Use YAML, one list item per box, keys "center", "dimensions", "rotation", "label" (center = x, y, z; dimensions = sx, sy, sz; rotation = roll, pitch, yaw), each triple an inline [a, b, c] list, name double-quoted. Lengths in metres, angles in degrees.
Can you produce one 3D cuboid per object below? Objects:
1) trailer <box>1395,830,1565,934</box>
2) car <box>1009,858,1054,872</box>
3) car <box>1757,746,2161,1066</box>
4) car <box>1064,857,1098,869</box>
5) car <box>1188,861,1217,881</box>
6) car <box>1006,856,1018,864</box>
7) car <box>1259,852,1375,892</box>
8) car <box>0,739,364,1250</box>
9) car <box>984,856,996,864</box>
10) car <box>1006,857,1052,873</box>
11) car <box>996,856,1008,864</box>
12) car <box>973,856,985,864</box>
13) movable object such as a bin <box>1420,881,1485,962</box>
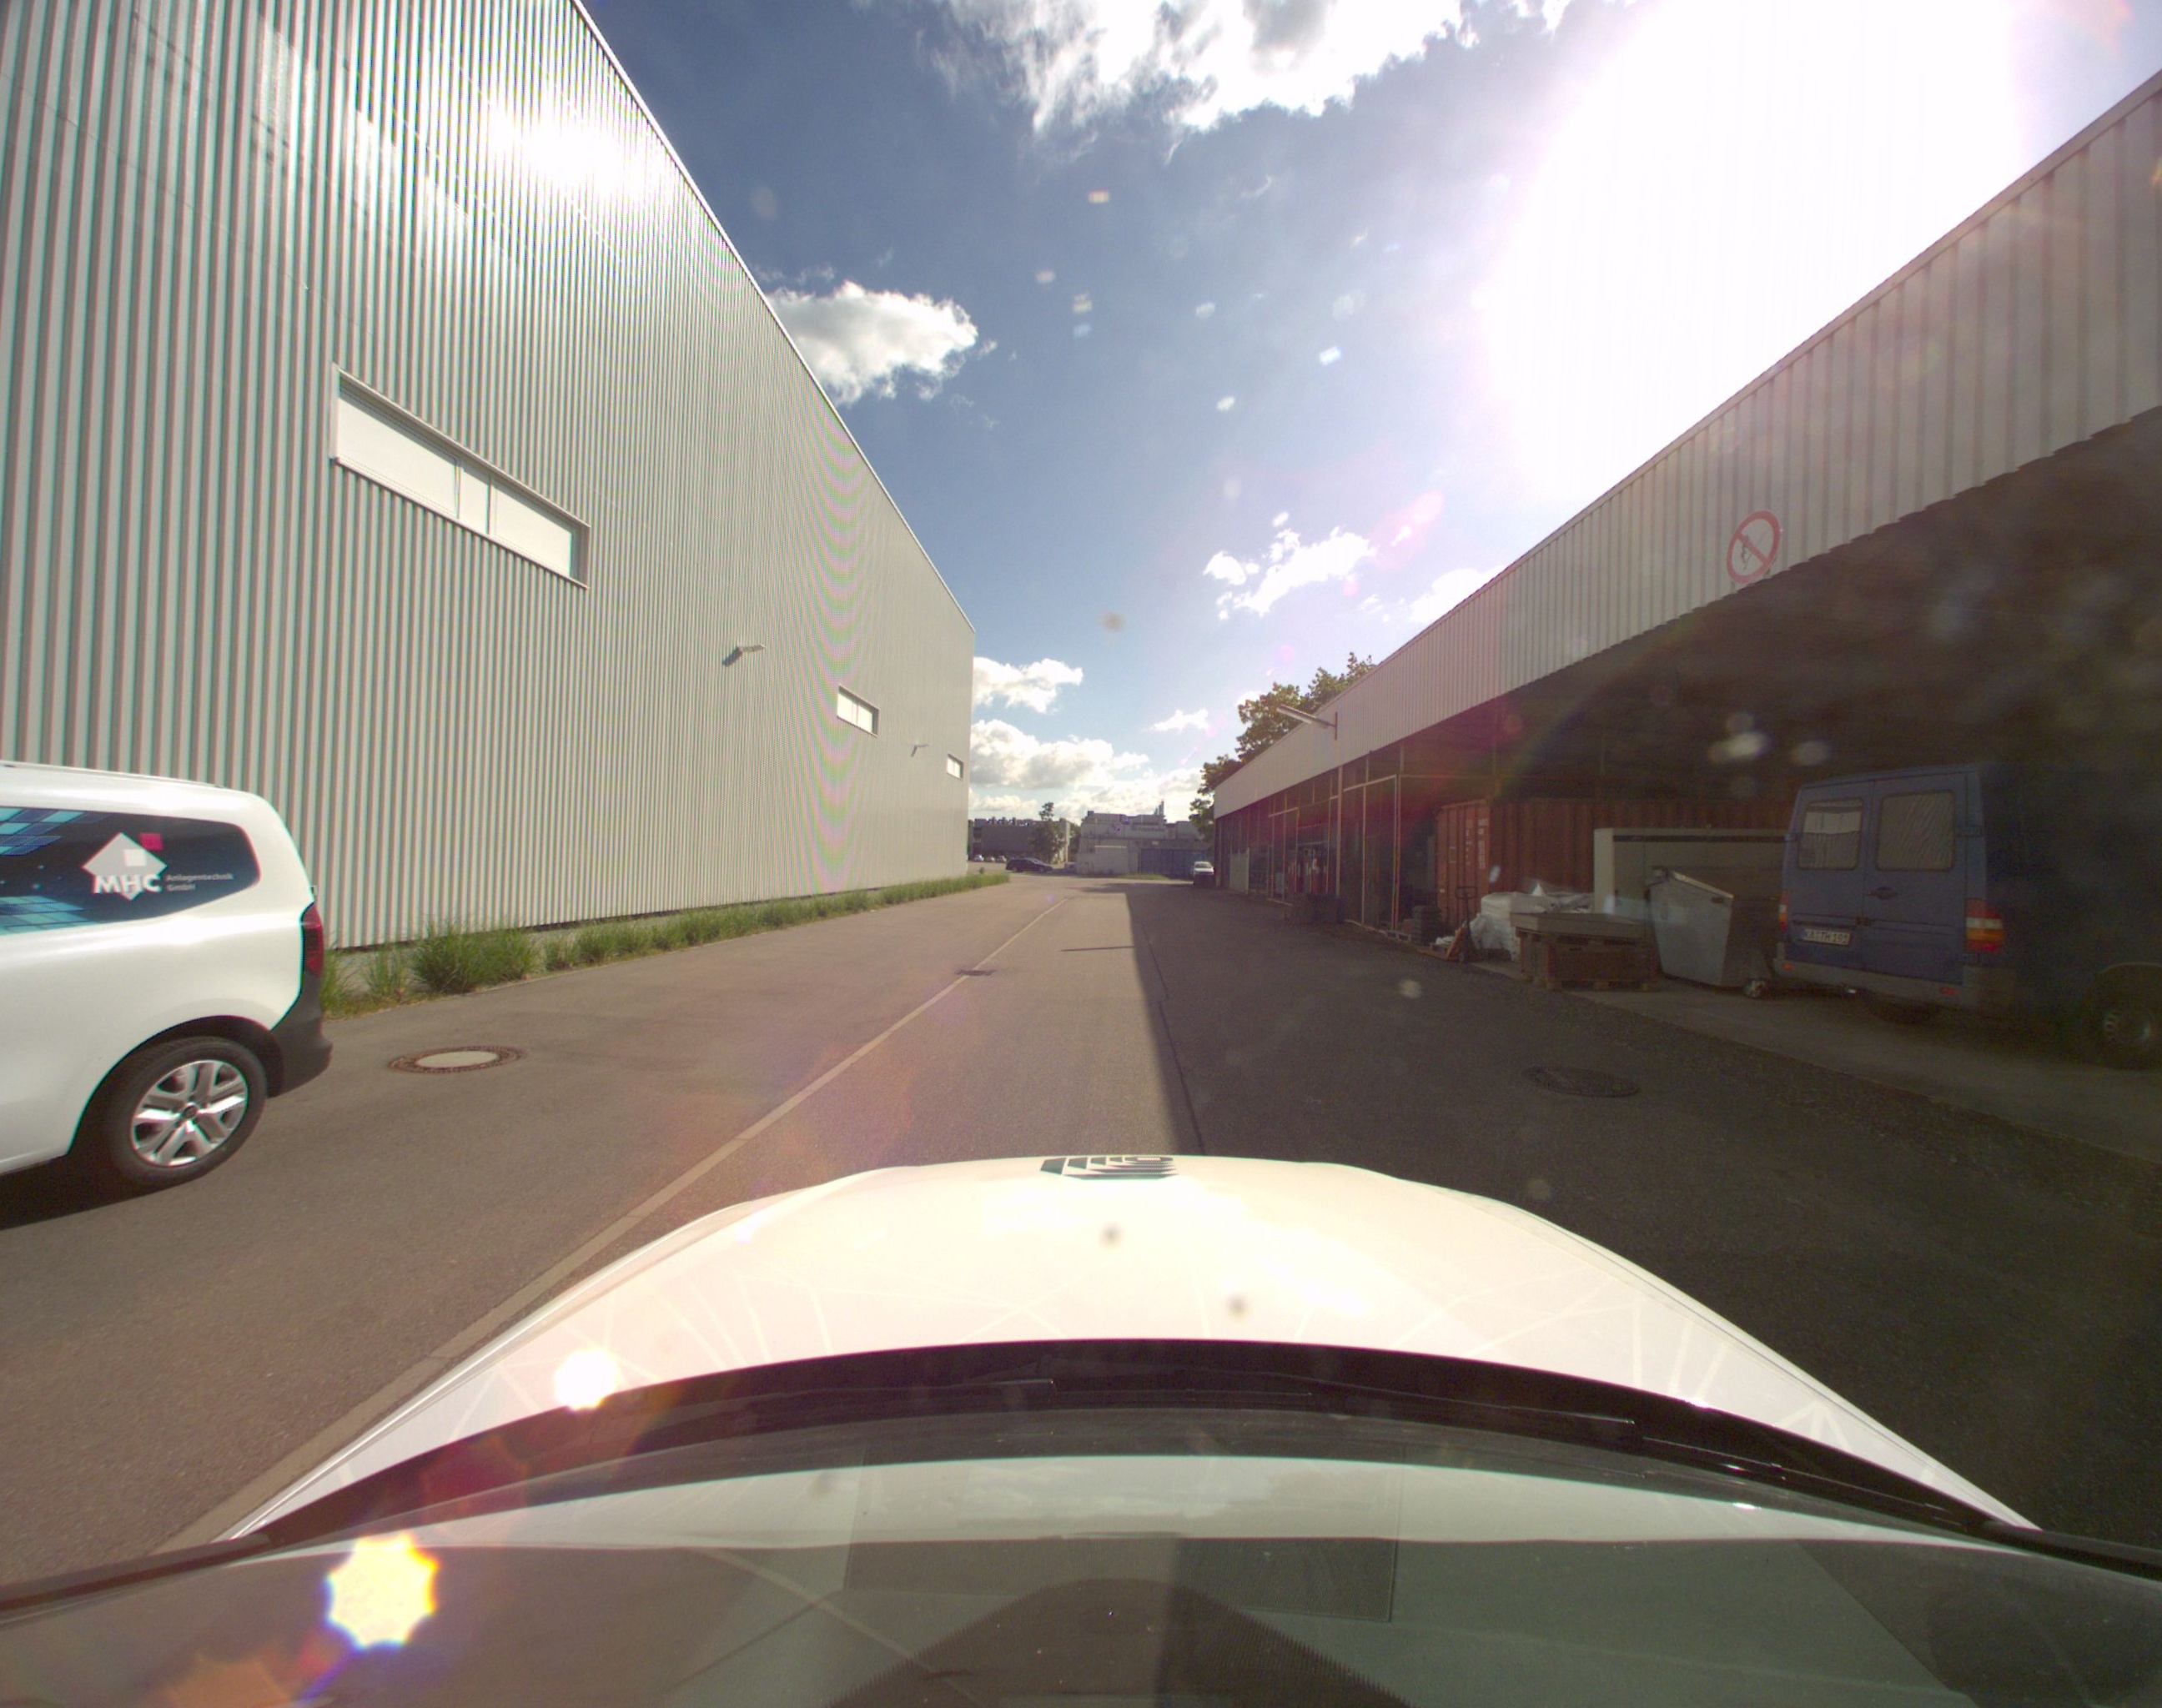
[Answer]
- center: [8.694, 0.568, 18.175]
  dimensions: [1.848, 2.058, 4.100]
  rotation: [1, 0, 1]
  label: "trailer"
- center: [-5.300, 1.167, 87.609]
  dimensions: [4.506, 1.508, 1.911]
  rotation: [1, -1, 4]
  label: "car"
- center: [9.074, 0.416, 6.917]
  dimensions: [4.959, 2.325, 2.001]
  rotation: [1, -1, 2]
  label: "car"
- center: [-0.042, 1.192, 111.835]
  dimensions: [4.507, 1.508, 1.910]
  rotation: [1, -1, 3]
  label: "car"
- center: [10.589, 1.469, 71.114]
  dimensions: [1.986, 1.585, 4.175]
  rotation: [1, 1, 2]
  label: "car"
- center: [-15.207, 1.305, 180.185]
  dimensions: [2.185, 1.736, 4.001]
  rotation: [0, -1, 2]
  label: "car"
- center: [11.768, 0.882, 40.767]
  dimensions: [5.225, 1.876, 1.997]
  rotation: [1, -1, -4]
  label: "car"
- center: [-4.838, 0.451, 2.099]
  dimensions: [1.883, 1.845, 4.360]
  rotation: [3, 0, 2]
  label: "car"
- center: [-20.267, 1.407, 181.705]
  dimensions: [1.986, 1.736, 4.001]
  rotation: [0, -1, 2]
  label: "car"
- center: [-5.412, 1.119, 84.372]
  dimensions: [4.506, 1.508, 1.911]
  rotation: [1, -1, 4]
  label: "car"
- center: [-17.677, 1.371, 181.971]
  dimensions: [2.185, 1.736, 4.001]
  rotation: [0, -1, 2]
  label: "car"
- center: [-22.738, 1.421, 182.131]
  dimensions: [1.986, 1.736, 4.001]
  rotation: [0, -1, 2]
  label: "car"
- center: [5.765, 1.019, 12.695]
  dimensions: [0.578, 1.164, 1.240]
  rotation: [0, -1, 7]
  label: "movable object such as a bin"
